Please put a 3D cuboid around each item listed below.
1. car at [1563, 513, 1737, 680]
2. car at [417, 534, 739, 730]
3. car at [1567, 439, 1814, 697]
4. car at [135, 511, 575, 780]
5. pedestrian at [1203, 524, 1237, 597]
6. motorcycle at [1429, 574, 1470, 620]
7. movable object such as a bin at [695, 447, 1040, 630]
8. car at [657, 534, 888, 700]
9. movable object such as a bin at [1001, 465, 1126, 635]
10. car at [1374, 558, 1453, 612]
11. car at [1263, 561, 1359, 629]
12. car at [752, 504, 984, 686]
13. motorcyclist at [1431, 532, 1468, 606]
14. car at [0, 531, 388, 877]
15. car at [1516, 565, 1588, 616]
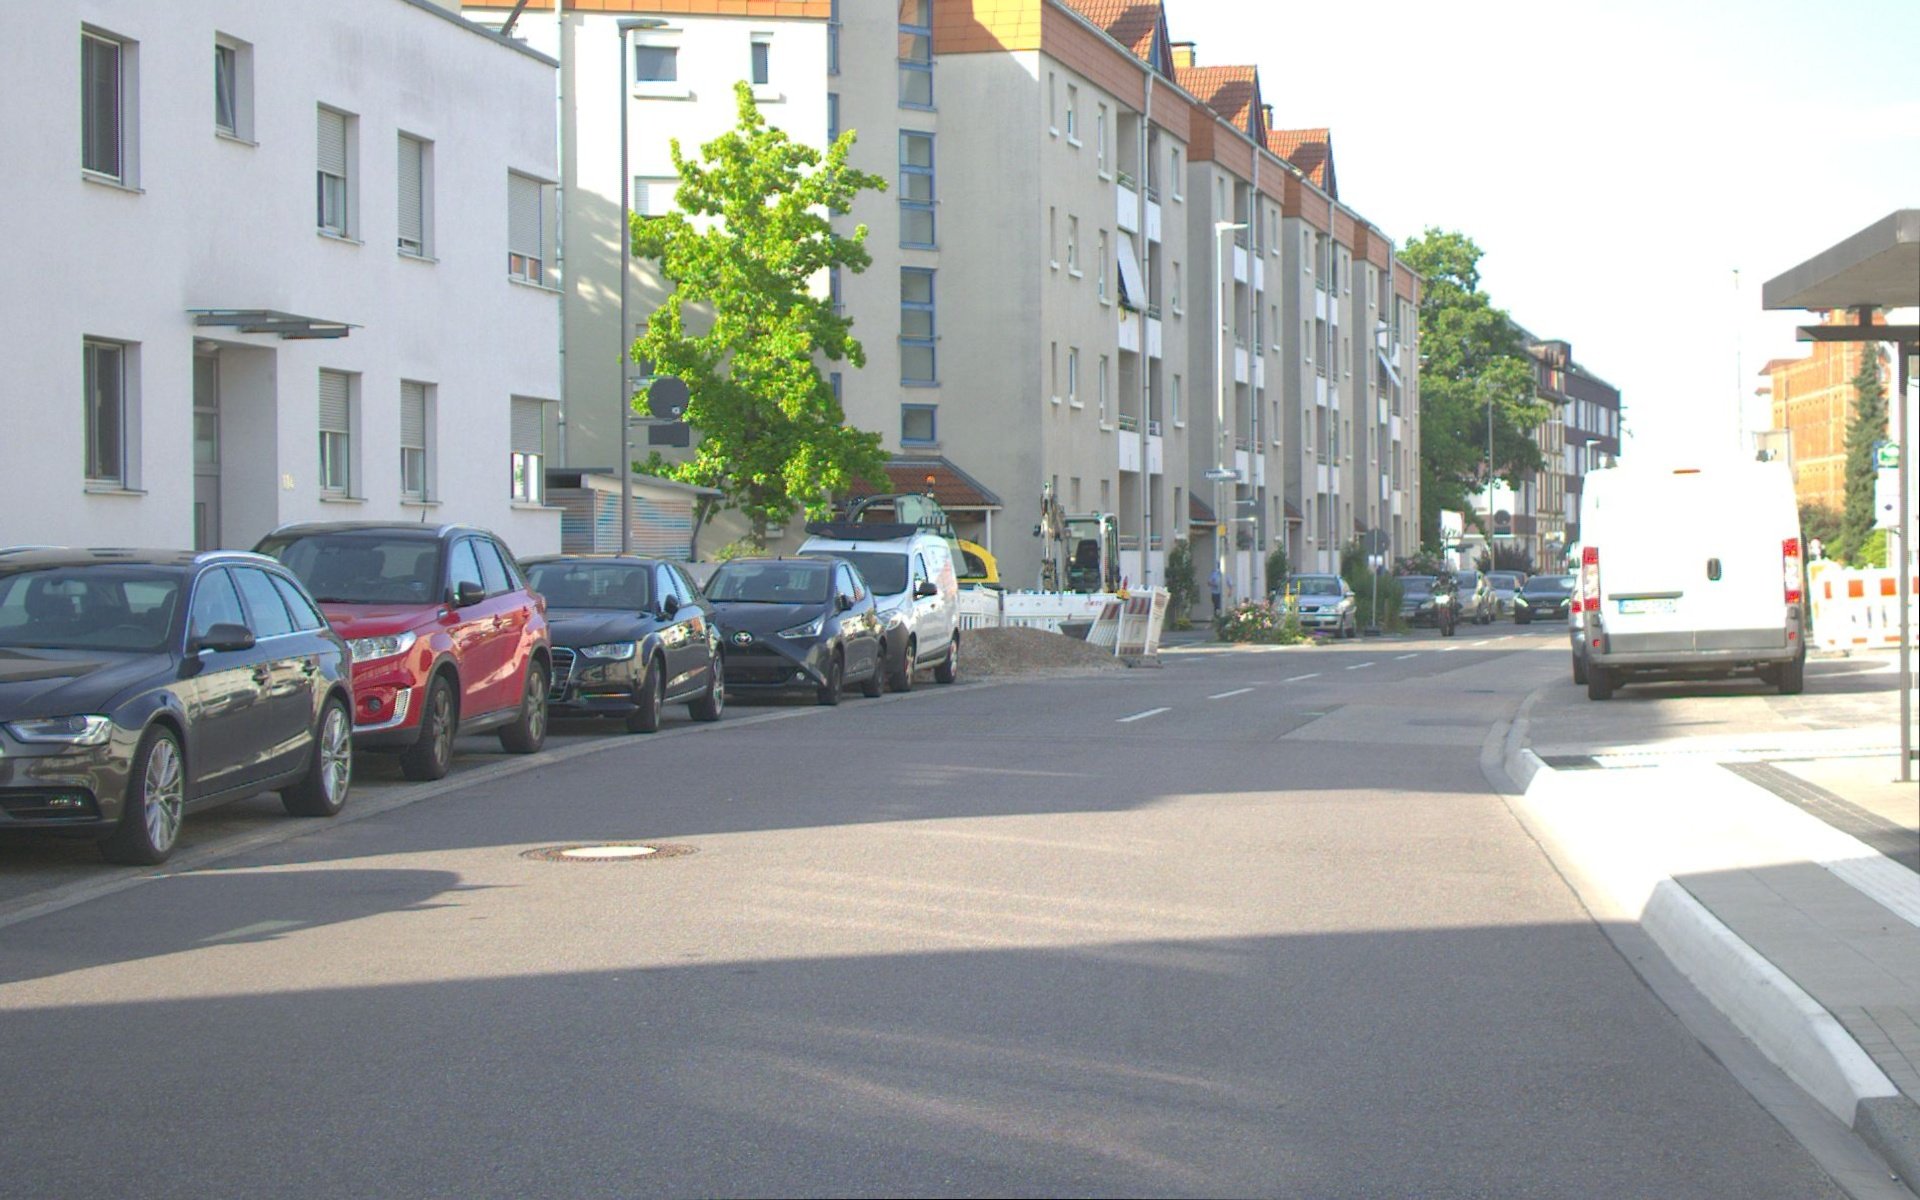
[{"bbox_3d":[7.844,-0.078,39.096,1.778,1.735,4.481,-2,1,11],"label":"car"},{"bbox_3d":[-3.043,0.202,28.239,1.727,1.473,4.263,0,1,6],"label":"car"},{"bbox_3d":[7.244,-0.336,34.250,2.175,2.319,4.995,-2,1,11],"label":"car"},{"bbox_3d":[-3.886,0.227,22.827,1.727,1.616,4.263,0,1,6],"label":"car"},{"bbox_3d":[6.534,-1.004,86.312,0.719,1.812,0.744,1,1,15],"label":"pedestrian"},{"bbox_3d":[10.963,-0.065,77.016,0.769,0.981,2.198,1,1,11],"label":"motorcycle"},{"bbox_3d":[-1.496,-1.010,56.183,5.497,2.890,2.112,0,1,-1],"label":"movable object such as a bin"},{"bbox_3d":[-1.814,0.125,34.178,1.493,1.460,3.513,4,2,9],"label":"car"},{"bbox_3d":[2.011,-0.984,65.684,1.648,3.127,3.898,1,2,12],"label":"movable object such as a bin"},{"bbox_3d":[12.225,-0.409,92.464,1.687,1.401,4.081,1,1,13],"label":"car"},{"bbox_3d":[7.675,-0.131,74.897,1.641,1.391,3.669,-1,1,12],"label":"car"},{"bbox_3d":[-0.988,-0.095,39.422,1.728,1.954,4.437,1,1,11],"label":"car"},{"bbox_3d":[10.981,-0.698,77.081,0.769,1.646,0.843,1,1,10],"label":"motorcyclist"},{"bbox_3d":[-4.353,0.407,17.283,1.727,1.473,4.502,1,1,6],"label":"car"},{"bbox_3d":[17.406,-0.295,100.920,1.831,1.415,4.206,-1,1,13],"label":"car"}]
